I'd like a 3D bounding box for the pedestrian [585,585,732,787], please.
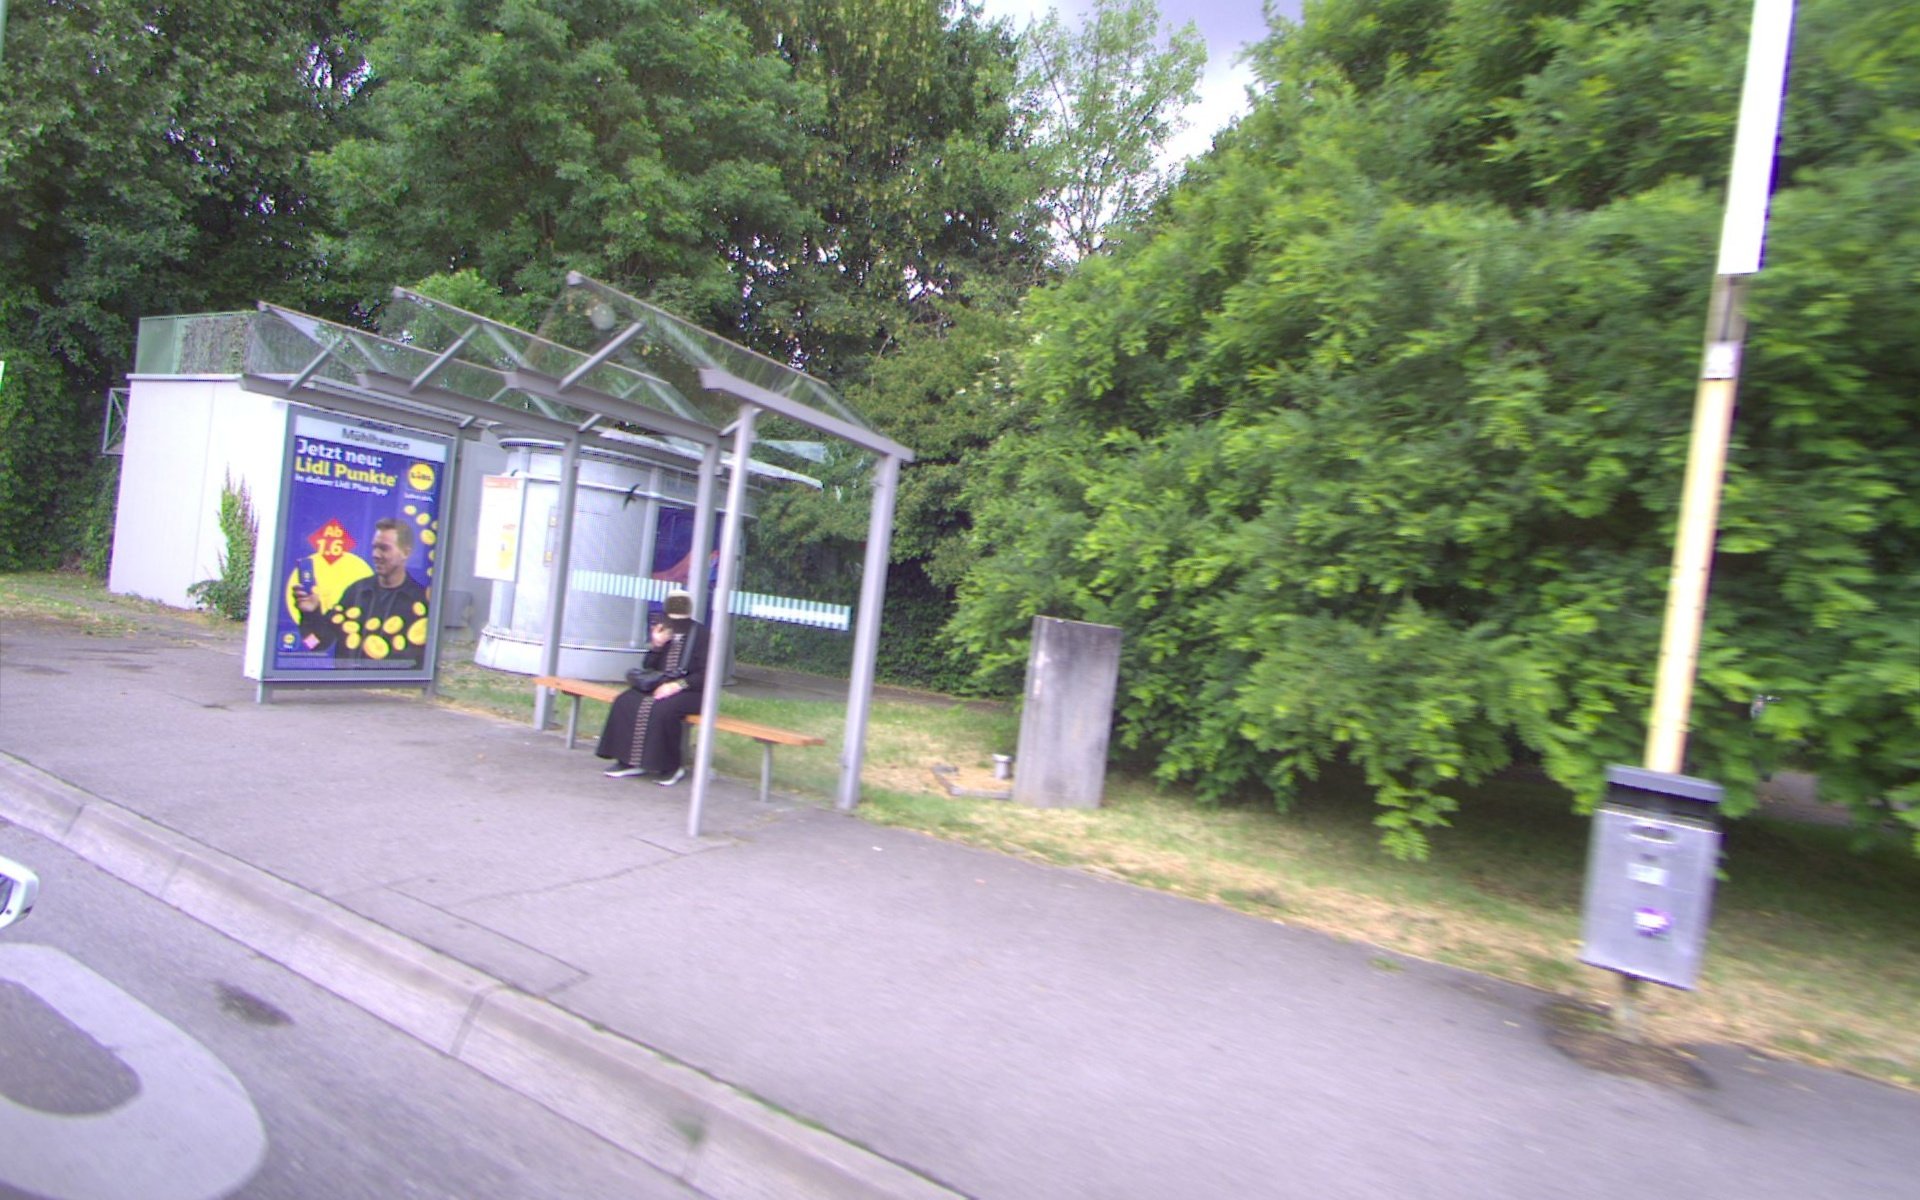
[{"bbox_3d":[-1.924,0.531,6.445,0.537,1.173,0.601,7,2,30],"label":"pedestrian"}]
